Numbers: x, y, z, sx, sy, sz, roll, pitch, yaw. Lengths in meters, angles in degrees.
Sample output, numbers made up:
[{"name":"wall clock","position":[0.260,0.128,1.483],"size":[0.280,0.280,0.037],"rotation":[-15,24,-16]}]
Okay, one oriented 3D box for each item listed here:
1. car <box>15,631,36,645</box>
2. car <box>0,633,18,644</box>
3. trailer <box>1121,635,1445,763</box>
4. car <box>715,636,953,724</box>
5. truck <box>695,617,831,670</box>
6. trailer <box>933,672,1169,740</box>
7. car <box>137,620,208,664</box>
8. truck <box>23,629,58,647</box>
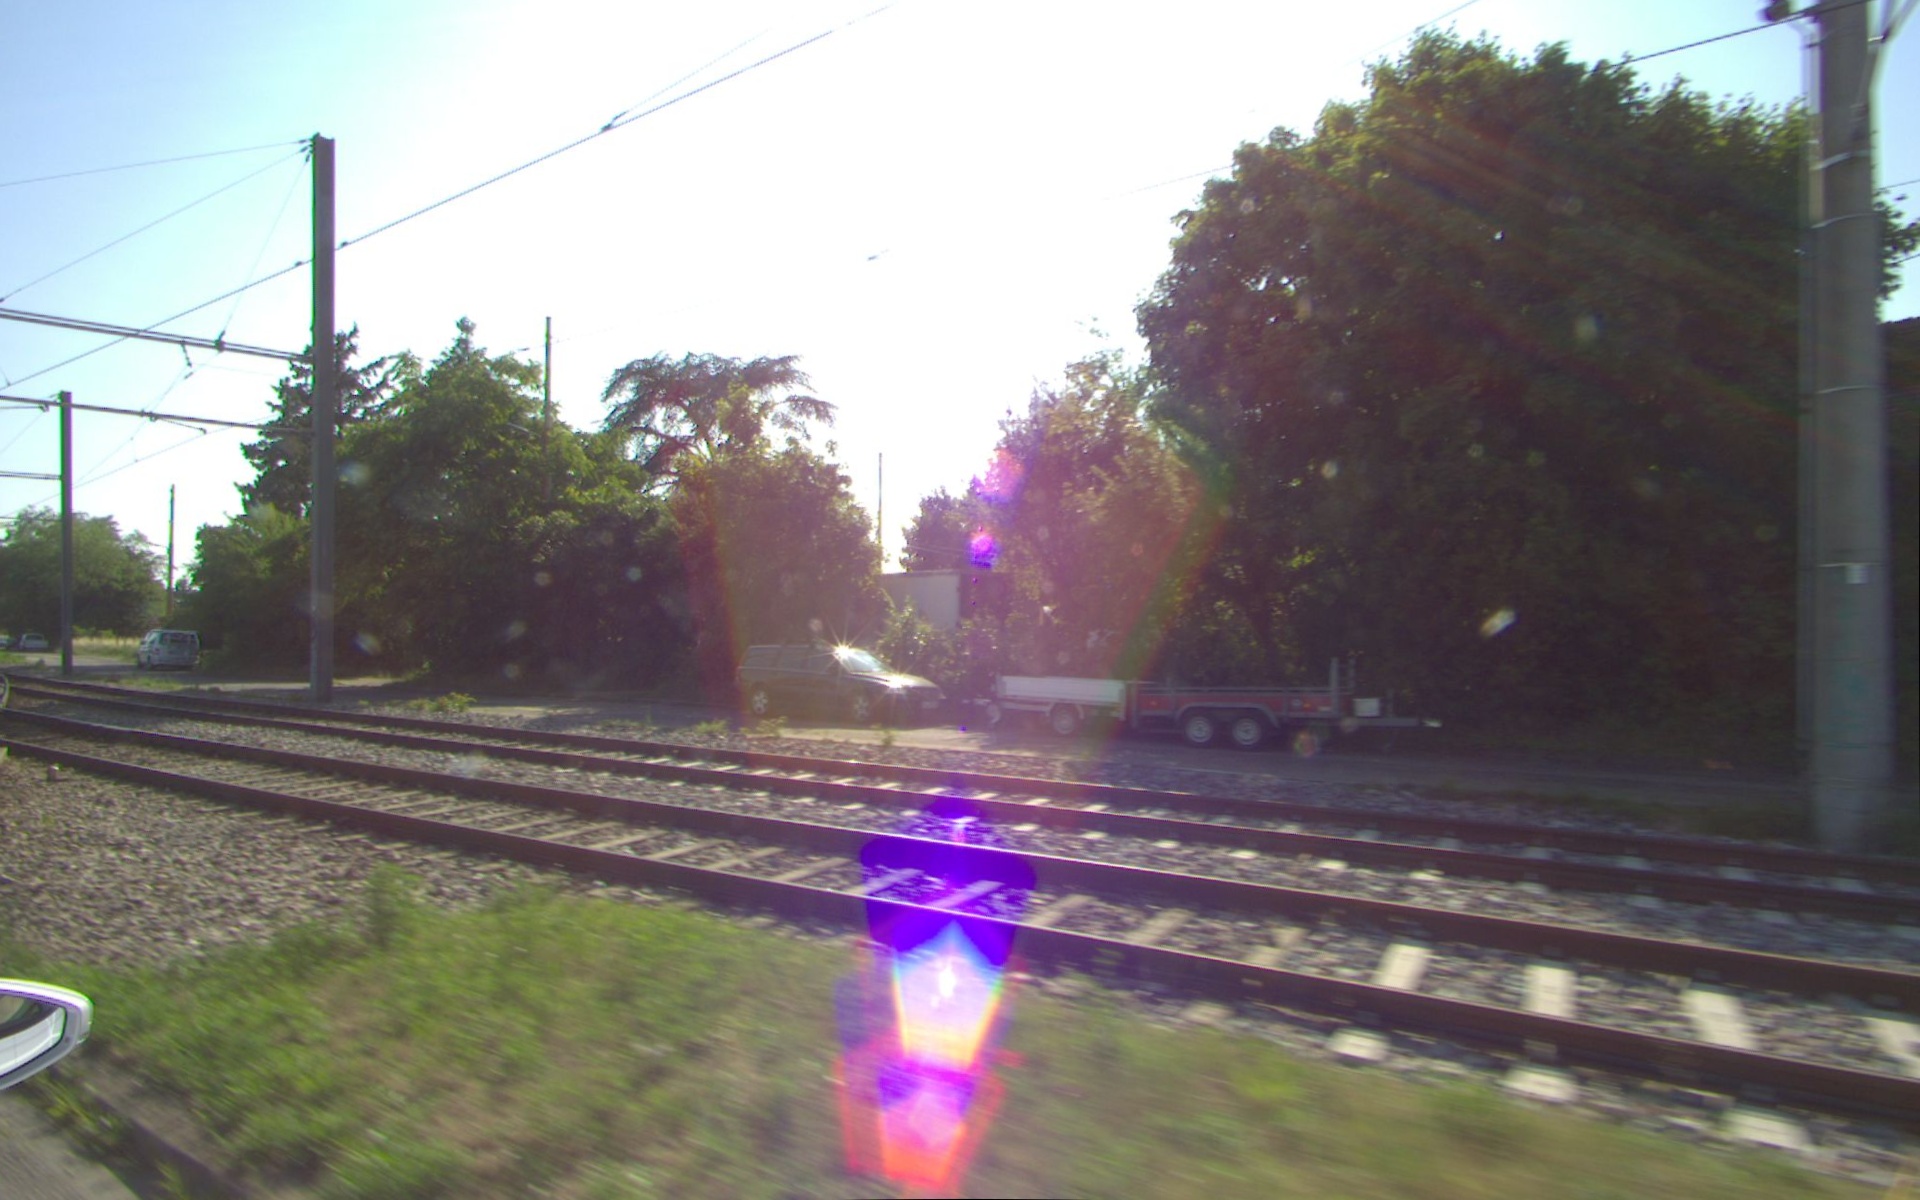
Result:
[{"name":"car","position":[-113.522,4.636,121.620],"size":[1.724,1.700,3.511],"rotation":[3,-5,-44]},{"name":"car","position":[-126.820,5.155,133.445],"size":[3.454,1.415,1.613],"rotation":[-3,-5,44]},{"name":"trailer","position":[4.751,1.377,14.875],"size":[4.201,1.616,2.023],"rotation":[-1,-4,34]},{"name":"car","position":[-2.574,1.523,19.779],"size":[4.817,1.474,1.694],"rotation":[0,-4,37]},{"name":"truck","position":[-7.516,1.601,37.925],"size":[5.337,1.878,1.988],"rotation":[-1,-2,36]},{"name":"trailer","position":[1.533,1.783,17.239],"size":[3.677,0.950,1.729],"rotation":[-1,-5,34]},{"name":"car","position":[-39.719,2.108,50.463],"size":[5.012,2.029,1.985],"rotation":[-1,-4,43]},{"name":"truck","position":[-93.731,3.840,102.069],"size":[5.866,1.842,2.193],"rotation":[-2,-2,43]}]
